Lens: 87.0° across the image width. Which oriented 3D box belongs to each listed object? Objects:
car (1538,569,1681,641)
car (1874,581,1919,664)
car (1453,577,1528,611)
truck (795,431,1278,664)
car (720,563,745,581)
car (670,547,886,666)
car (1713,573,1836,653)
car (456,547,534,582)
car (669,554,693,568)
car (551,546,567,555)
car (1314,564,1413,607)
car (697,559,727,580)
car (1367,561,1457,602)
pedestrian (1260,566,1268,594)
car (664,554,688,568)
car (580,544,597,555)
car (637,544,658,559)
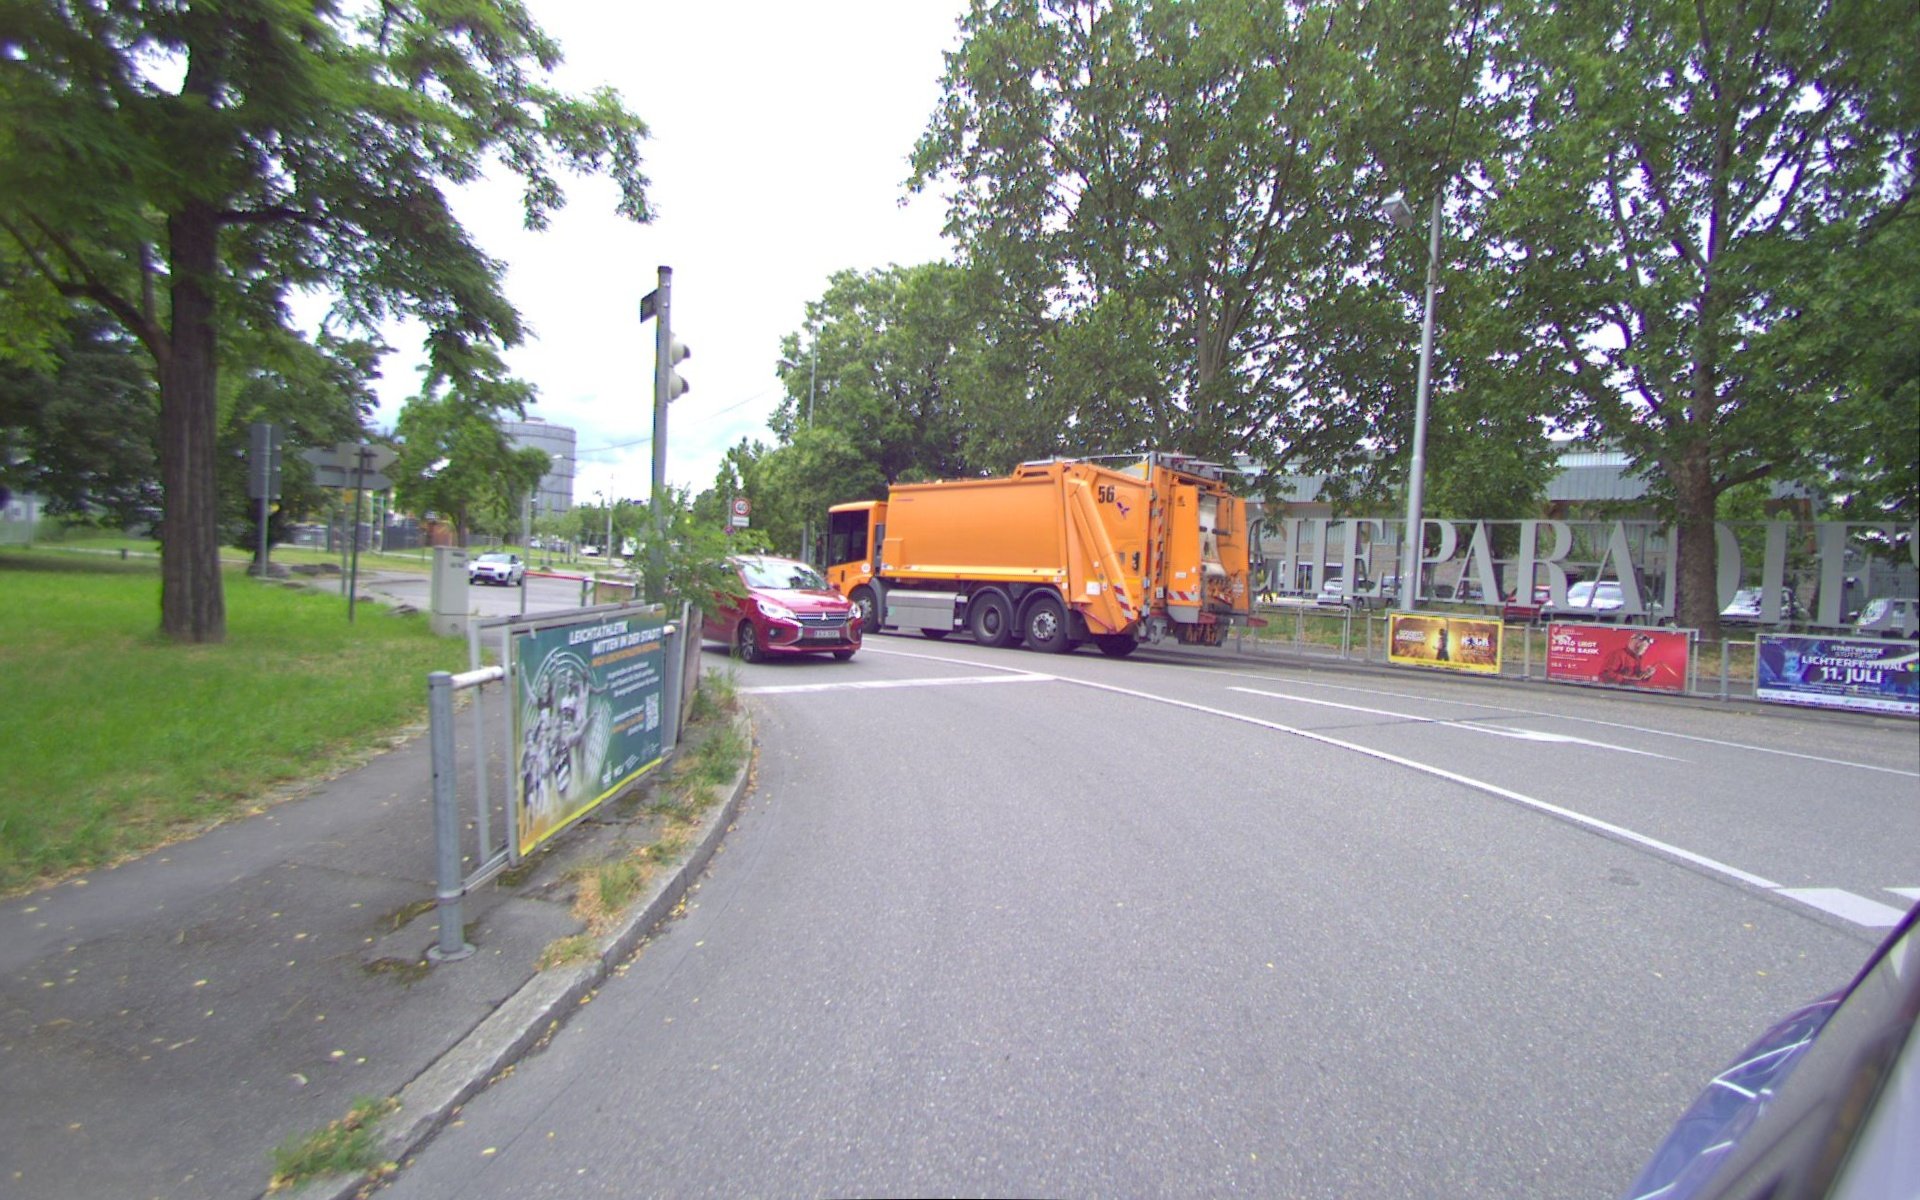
[{"bbox_3d":[17.020,0.149,26.444,4.445,1.633,1.882,3,2,-41],"label":"car"},{"bbox_3d":[20.881,0.537,21.635,3.932,1.633,1.589,2,2,-43],"label":"car"},{"bbox_3d":[28.088,-0.284,53.566,4.560,1.580,1.997,2,2,-42],"label":"car"},{"bbox_3d":[0.857,-0.988,20.265,2.751,3.570,10.399,2,1,-44],"label":"truck"},{"bbox_3d":[-19.750,-2.447,88.096,1.682,1.424,3.376,3,1,-6],"label":"car"},{"bbox_3d":[-2.811,0.001,14.981,1.700,1.483,3.837,0,3,-35],"label":"car"},{"bbox_3d":[19.090,0.327,23.651,4.244,1.633,1.589,2,2,-43],"label":"car"},{"bbox_3d":[-22.511,-1.762,49.162,2.009,1.554,3.944,0,3,0],"label":"car"},{"bbox_3d":[-33.834,-4.698,122.473,2.006,1.555,3.950,2,2,-27],"label":"car"},{"bbox_3d":[-75.920,-9.382,191.462,2.008,1.555,3.945,4,1,-34],"label":"car"},{"bbox_3d":[17.062,-0.590,42.697,4.560,1.580,1.997,2,2,-42],"label":"car"},{"bbox_3d":[-18.898,-2.341,77.246,1.682,1.424,3.376,3,1,-6],"label":"car"},{"bbox_3d":[20.563,-0.828,45.937,4.560,1.580,1.997,2,2,-42],"label":"car"},{"bbox_3d":[20.400,-1.335,67.867,0.338,1.787,0.434,4,0,25],"label":"pedestrian"},{"bbox_3d":[-34.286,-4.764,122.192,2.006,1.554,3.949,-1,4,-28],"label":"car"},{"bbox_3d":[-62.999,-8.566,171.580,2.006,1.555,3.947,4,1,-30],"label":"car"},{"bbox_3d":[-35.316,-5.538,114.453,2.004,1.555,3.952,3,2,-20],"label":"car"}]
